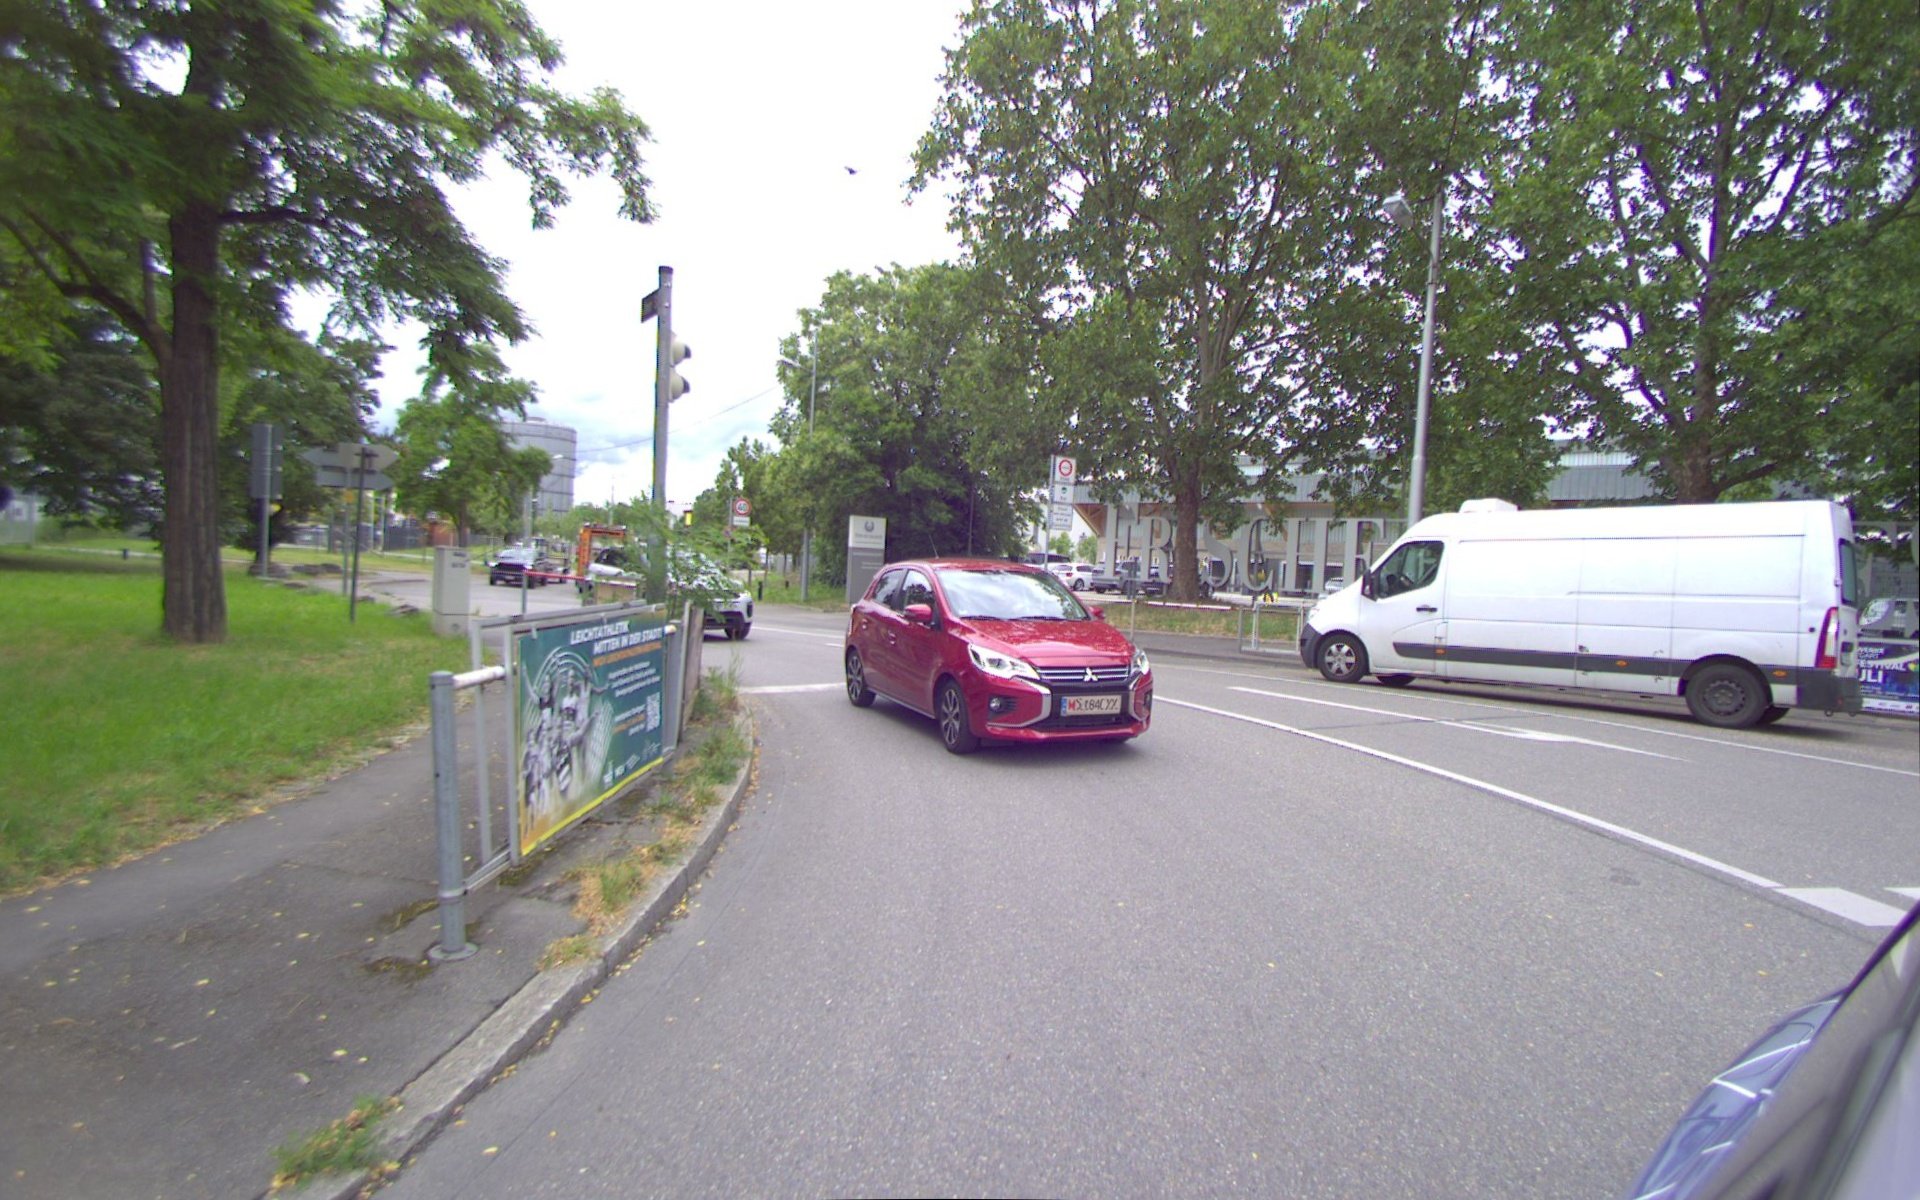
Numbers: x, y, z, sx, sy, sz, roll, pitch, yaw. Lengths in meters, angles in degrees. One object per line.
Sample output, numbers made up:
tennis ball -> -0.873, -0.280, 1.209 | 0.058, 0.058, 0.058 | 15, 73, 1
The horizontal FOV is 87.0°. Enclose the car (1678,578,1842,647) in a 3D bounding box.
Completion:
car -> 18.902, 0.230, 23.844 | 4.614, 1.476, 1.999 | -1, 0, -38

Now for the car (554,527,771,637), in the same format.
car -> -5.454, -0.360, 18.297 | 4.103, 1.588, 1.887 | 7, 3, 43

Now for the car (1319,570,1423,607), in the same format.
car -> 17.357, -0.490, 42.609 | 5.160, 1.449, 1.935 | -1, 1, -41

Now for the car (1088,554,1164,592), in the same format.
car -> 8.527, -1.376, 51.702 | 1.911, 1.721, 3.937 | 5, 3, 43

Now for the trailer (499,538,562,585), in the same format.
trailer -> -23.873, -2.162, 56.451 | 2.106, 2.416, 5.401 | 3, 2, -12

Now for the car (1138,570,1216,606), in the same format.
car -> 10.624, -0.569, 49.495 | 1.911, 1.526, 3.937 | 5, 3, 43

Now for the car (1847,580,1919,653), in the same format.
car -> 21.005, 0.312, 22.078 | 4.620, 1.476, 1.996 | -1, 1, -42

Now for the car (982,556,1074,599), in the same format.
car -> 2.908, -0.947, 42.915 | 1.911, 1.595, 3.713 | 5, 3, 43

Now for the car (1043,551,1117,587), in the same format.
car -> 6.475, -1.643, 54.419 | 1.911, 1.721, 3.937 | 5, 3, 43

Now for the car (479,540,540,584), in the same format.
car -> -22.611, -1.984, 50.977 | 1.910, 2.003, 5.887 | 1, 3, -15

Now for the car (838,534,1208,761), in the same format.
car -> 0.303, 0.255, 8.944 | 1.731, 1.549, 3.748 | 1, 2, -23

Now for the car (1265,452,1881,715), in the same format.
car -> 7.388, -0.185, 13.062 | 2.155, 2.573, 6.472 | 0, 0, -41
